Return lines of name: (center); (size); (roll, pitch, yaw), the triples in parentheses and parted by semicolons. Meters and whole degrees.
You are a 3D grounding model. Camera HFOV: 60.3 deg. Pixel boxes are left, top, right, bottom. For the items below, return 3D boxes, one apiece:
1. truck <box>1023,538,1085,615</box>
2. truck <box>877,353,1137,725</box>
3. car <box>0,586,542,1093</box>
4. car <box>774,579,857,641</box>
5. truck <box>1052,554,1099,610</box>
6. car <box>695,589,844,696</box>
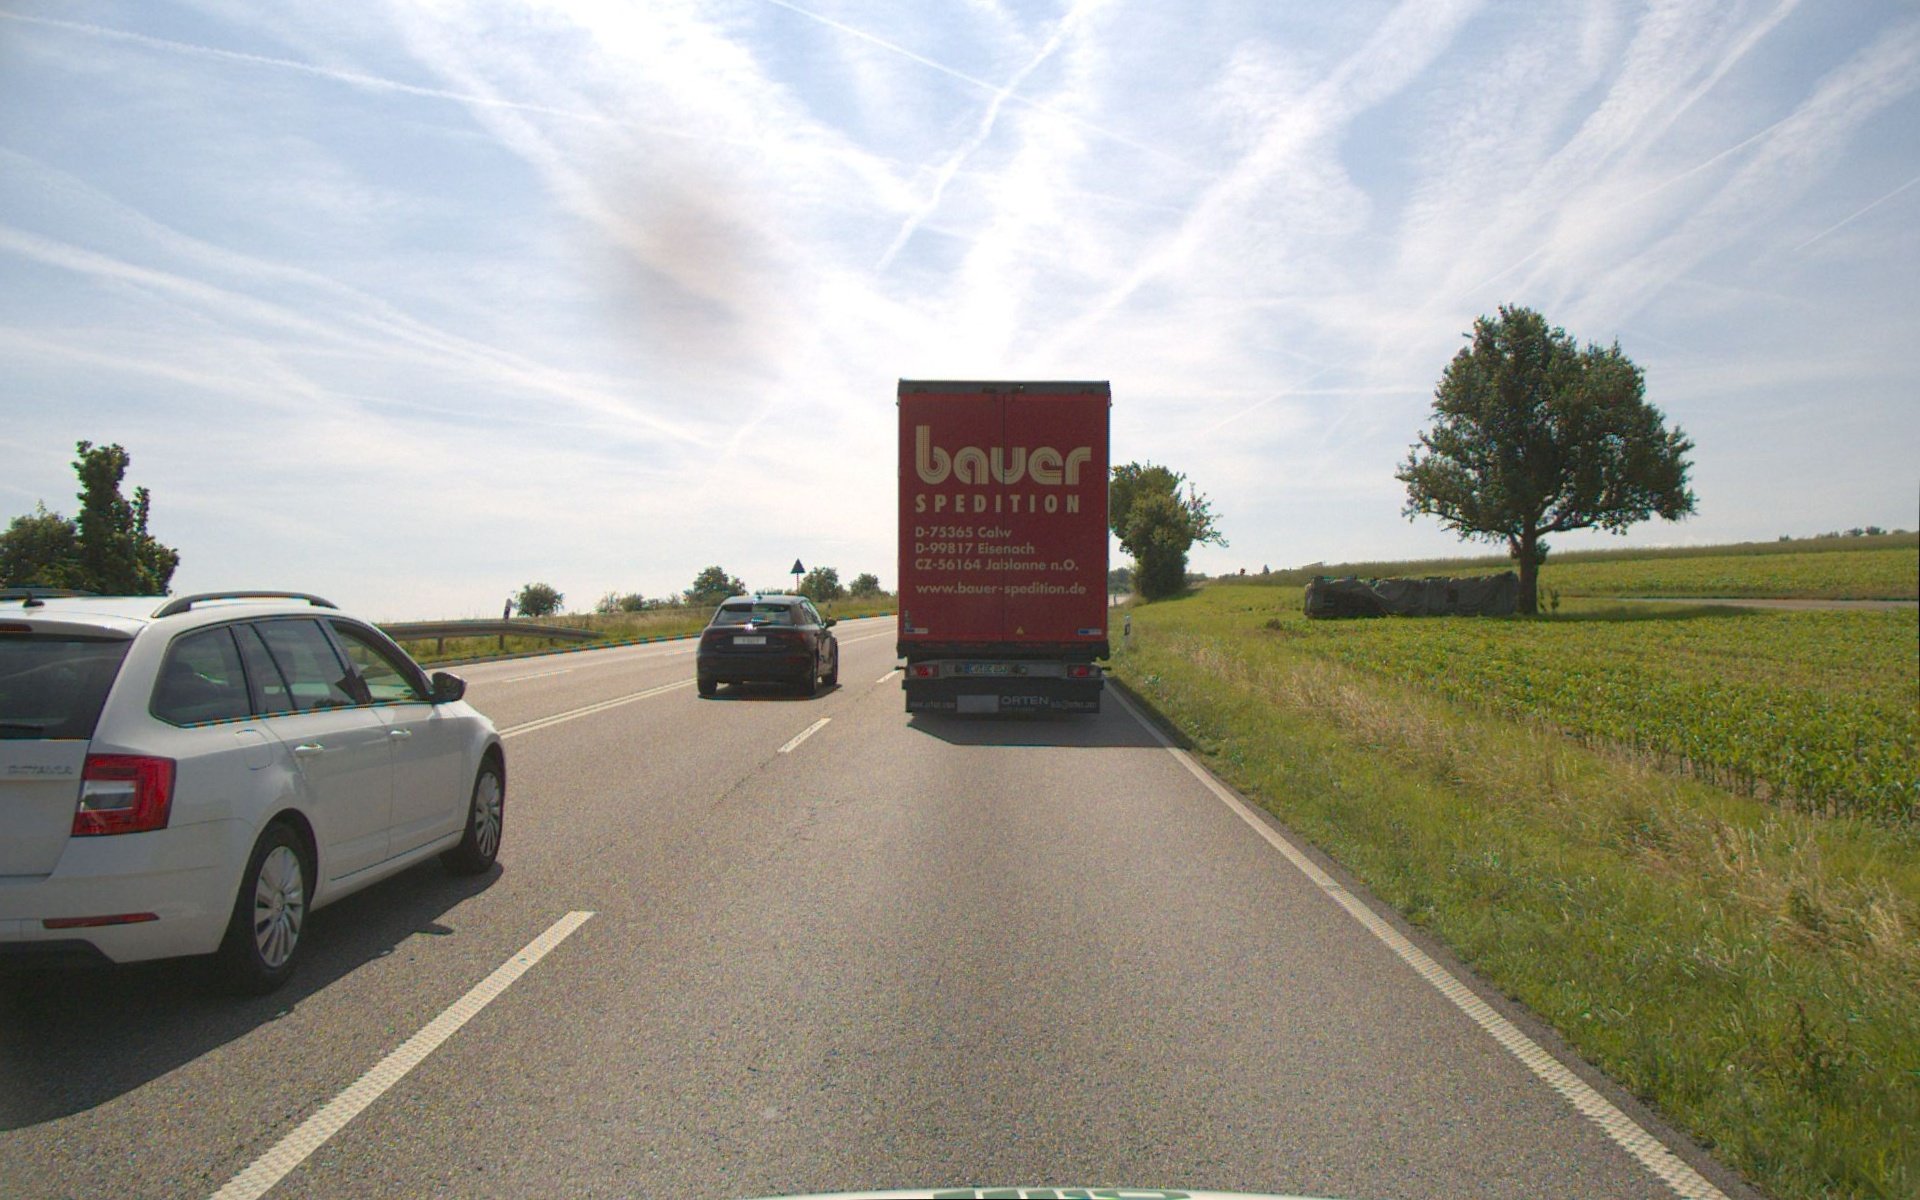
truck: (5.448, -1.248, 93.358); (2.982, 3.978, 15.624); (0, 0, 5)
truck: (0.534, -0.719, 27.451); (2.945, 4.253, 16.713); (1, 0, 0)
car: (-3.369, 0.696, 7.318); (1.783, 1.498, 4.789); (1, 0, 0)
car: (-4.702, 0.321, 54.586); (1.865, 1.917, 5.435); (0, 0, 4)
truck: (9.016, -1.341, 127.276); (2.982, 3.978, 18.410); (0, 0, 6)
car: (-2.859, 0.594, 25.726); (1.670, 1.498, 4.812); (0, 0, 1)
